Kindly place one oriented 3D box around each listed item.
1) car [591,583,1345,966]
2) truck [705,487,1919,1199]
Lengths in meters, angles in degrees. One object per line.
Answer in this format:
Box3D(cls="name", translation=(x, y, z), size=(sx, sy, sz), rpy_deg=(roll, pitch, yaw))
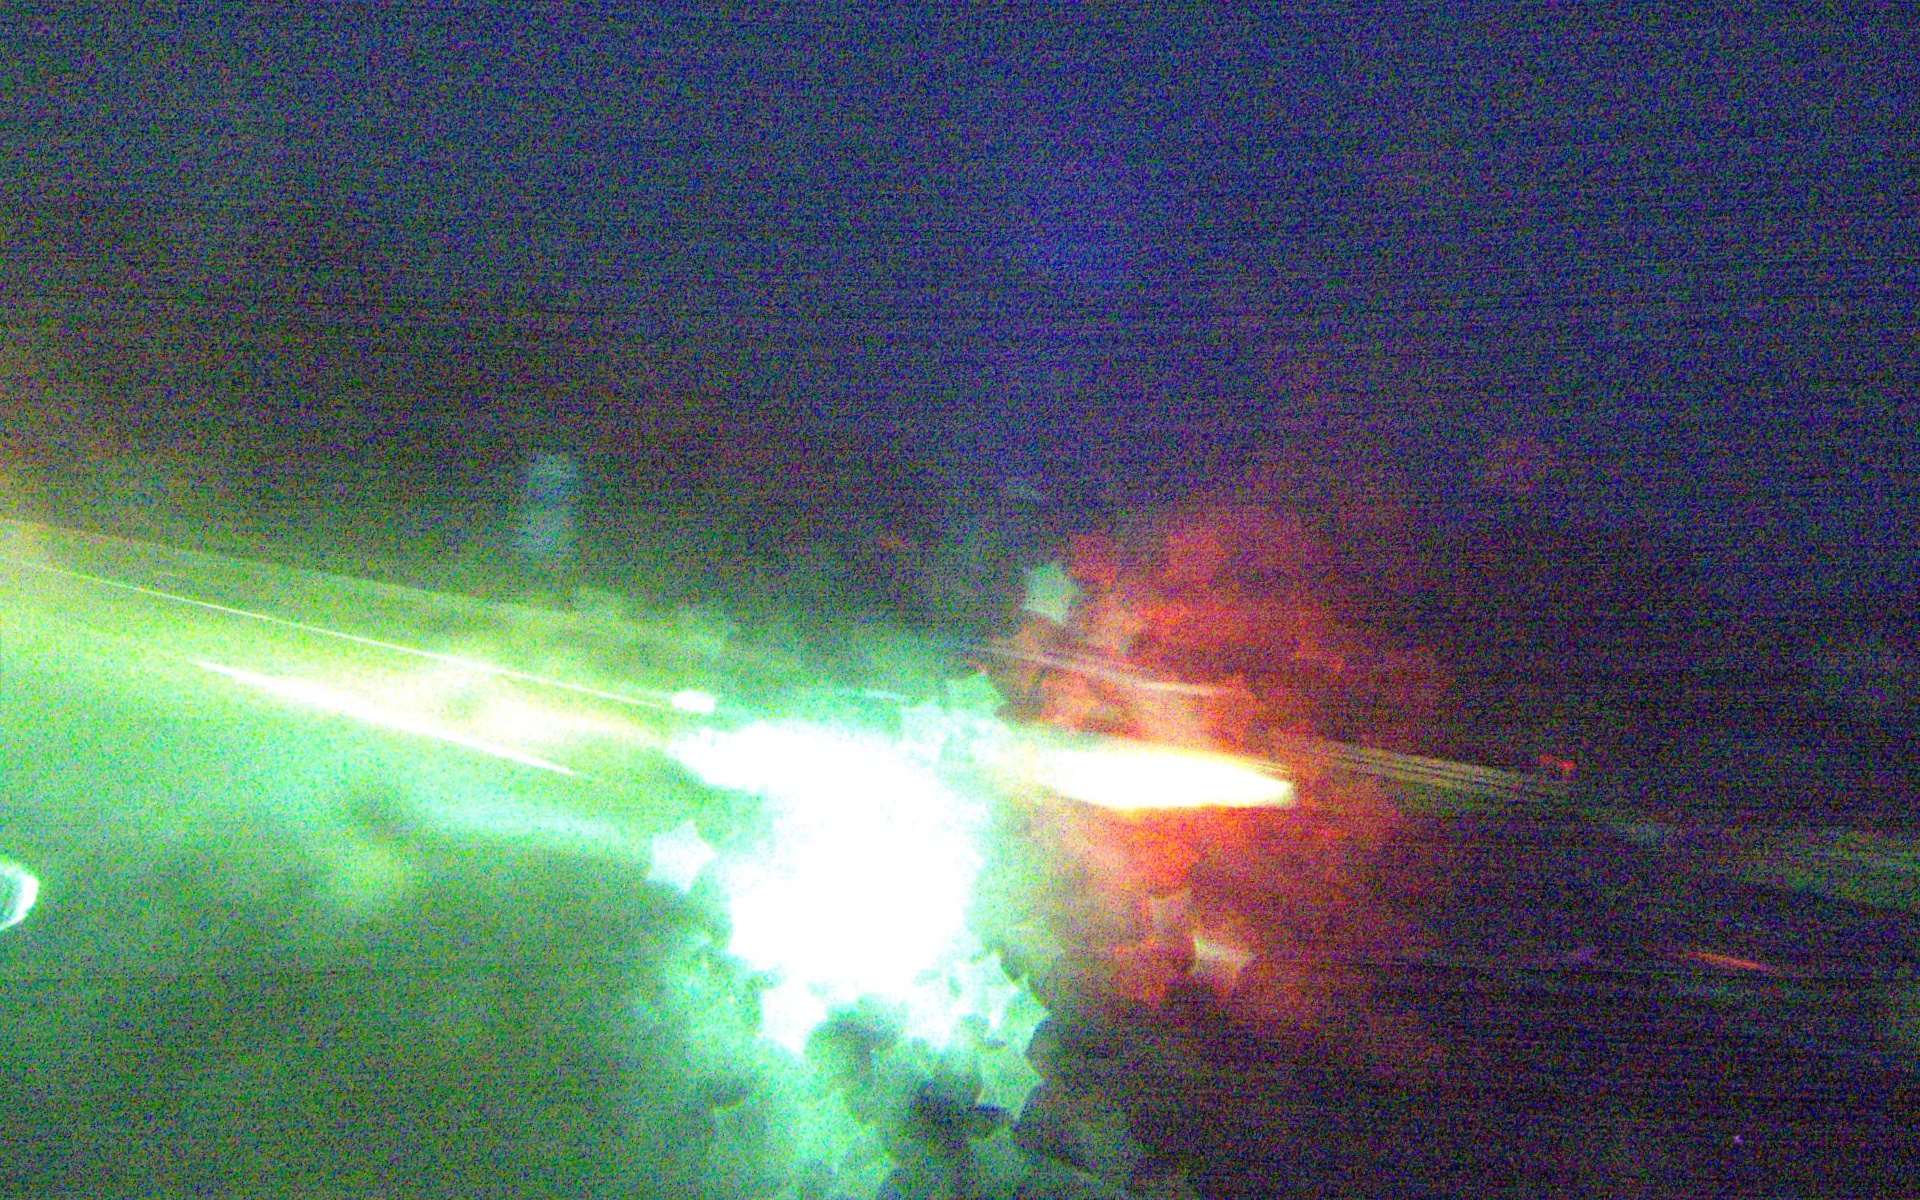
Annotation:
Box3D(cls="car", translation=(-0.185, 0.974, 7.385), size=(5.277, 1.496, 1.746), rpy_deg=(7, -2, 32))
Box3D(cls="truck", translation=(2.045, 0.937, 1.507), size=(4.775, 1.716, 1.847), rpy_deg=(6, -2, 32))
